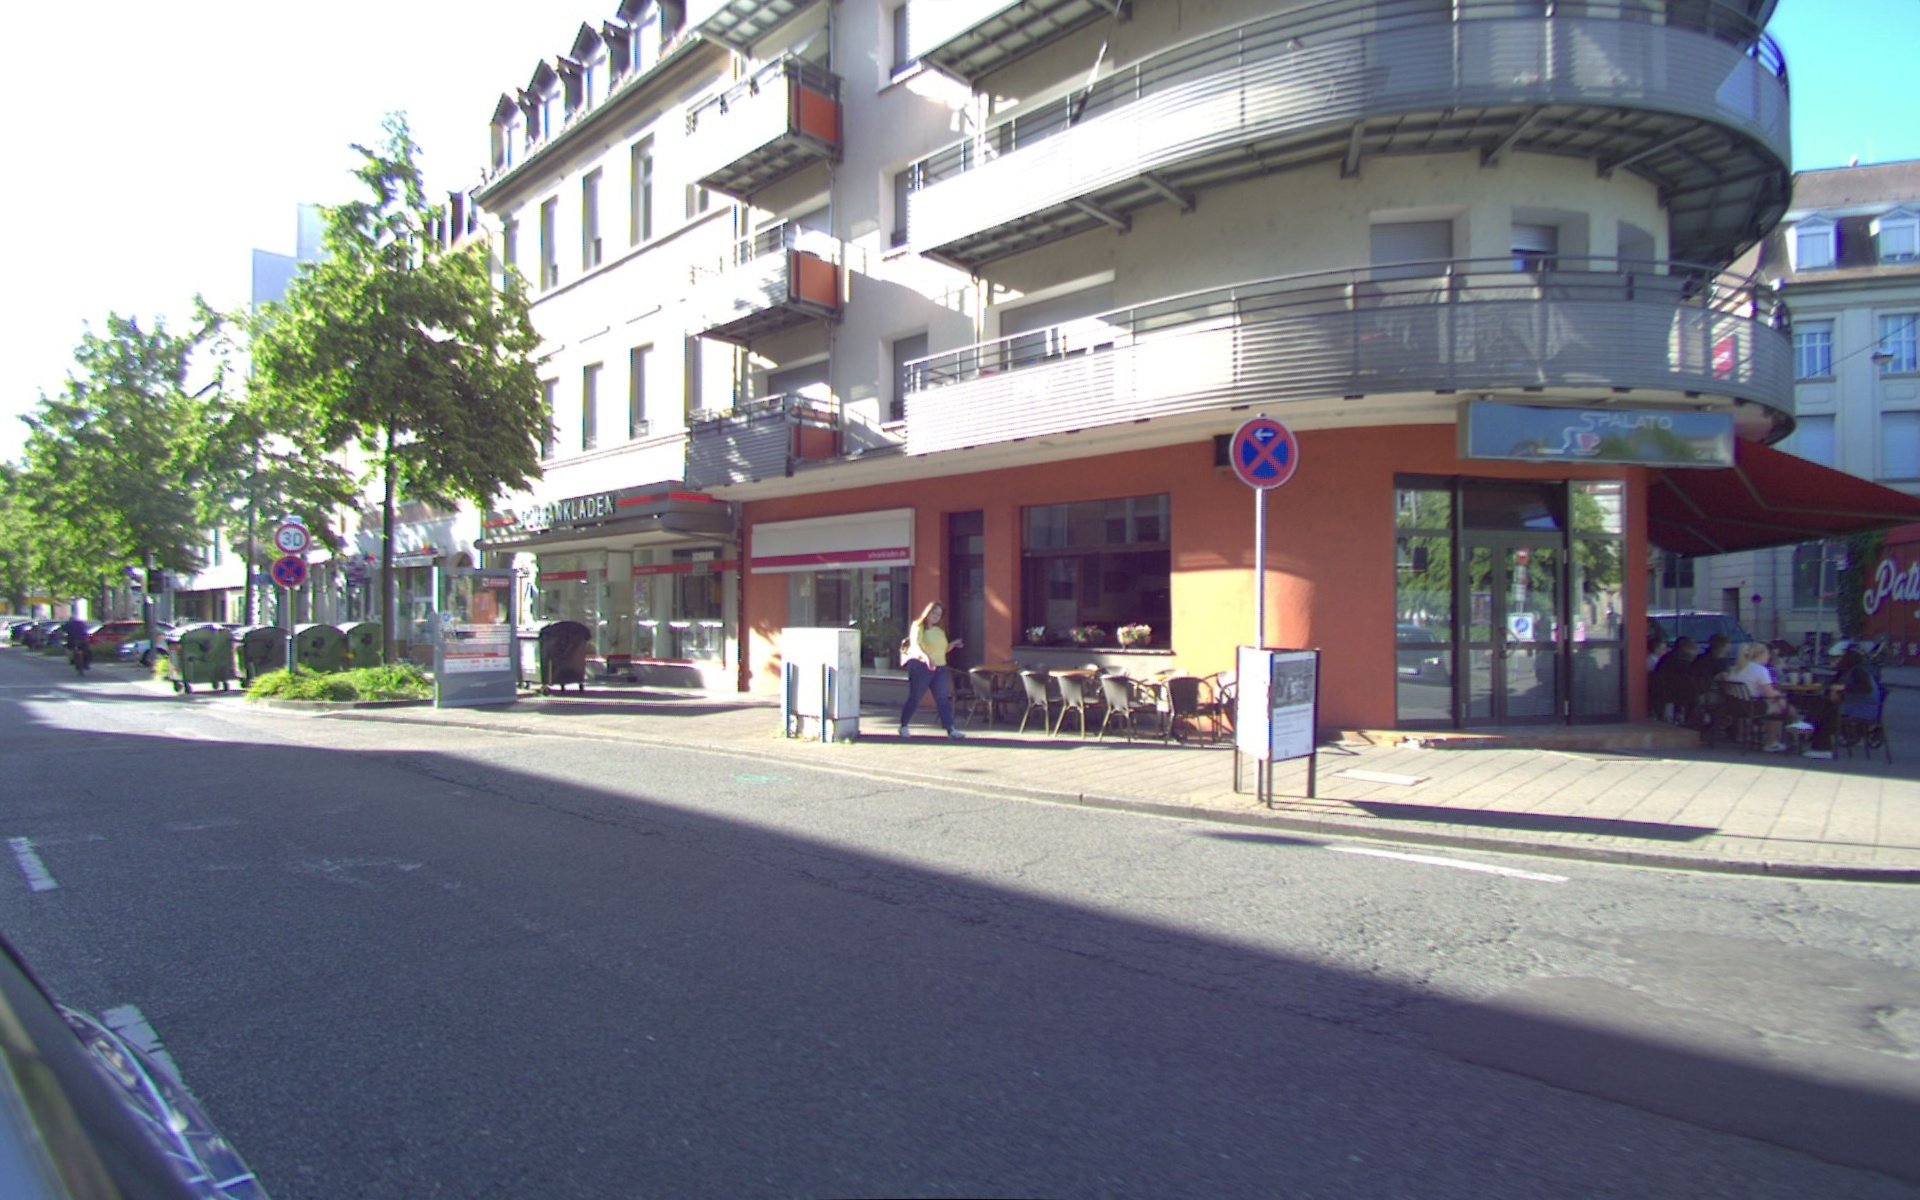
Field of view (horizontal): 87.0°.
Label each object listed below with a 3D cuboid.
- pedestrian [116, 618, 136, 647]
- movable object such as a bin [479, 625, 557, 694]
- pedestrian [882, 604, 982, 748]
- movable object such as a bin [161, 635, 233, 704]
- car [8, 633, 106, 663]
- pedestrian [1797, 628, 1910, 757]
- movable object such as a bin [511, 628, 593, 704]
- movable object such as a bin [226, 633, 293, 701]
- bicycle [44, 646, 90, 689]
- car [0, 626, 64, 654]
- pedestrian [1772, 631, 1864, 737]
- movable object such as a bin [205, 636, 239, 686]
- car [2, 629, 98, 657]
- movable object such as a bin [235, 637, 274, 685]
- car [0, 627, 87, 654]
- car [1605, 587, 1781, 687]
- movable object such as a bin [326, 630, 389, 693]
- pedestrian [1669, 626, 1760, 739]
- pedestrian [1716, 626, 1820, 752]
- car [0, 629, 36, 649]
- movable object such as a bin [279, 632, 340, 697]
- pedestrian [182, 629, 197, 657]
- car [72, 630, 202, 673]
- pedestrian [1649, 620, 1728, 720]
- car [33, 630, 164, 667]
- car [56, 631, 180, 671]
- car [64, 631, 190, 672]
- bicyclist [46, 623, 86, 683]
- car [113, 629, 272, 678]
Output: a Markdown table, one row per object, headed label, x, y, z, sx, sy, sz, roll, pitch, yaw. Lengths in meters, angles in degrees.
| label | x | y | z | sx | sy | sz | roll | pitch | yaw |
| --- | --- | --- | --- | --- | --- | --- | --- | --- | --- |
| pedestrian | -53.545 | 2.086 | 64.994 | 0.763 | 1.779 | 0.766 | -2 | 3 | 41 |
| movable object such as a bin | -9.093 | 1.192 | 20.822 | 1.314 | 1.355 | 1.031 | -2 | -2 | 42 |
| pedestrian | -0.348 | 0.893 | 12.340 | 1.036 | 1.672 | 0.657 | -2 | -2 | 42 |
| movable object such as a bin | -17.105 | 1.528 | 22.681 | 1.452 | 1.483 | 1.031 | -2 | -2 | 42 |
| car | -48.535 | 2.544 | 54.440 | 1.779 | 1.470 | 3.742 | -2 | -1 | 40 |
| pedestrian | 9.680 | 0.984 | 10.989 | 0.693 | 1.350 | 0.572 | -1 | -1 | 14 |
| movable object such as a bin | -8.028 | 1.271 | 19.901 | 1.314 | 1.415 | 1.031 | -2 | -2 | 42 |
| movable object such as a bin | -16.104 | 1.514 | 23.277 | 1.143 | 1.483 | 1.031 | -2 | -2 | 42 |
| bicycle | -25.353 | 1.888 | 28.717 | 1.966 | 1.155 | 0.698 | -2 | -2 | 40 |
| car | -65.098 | 2.777 | 70.308 | 2.039 | 1.850 | 4.060 | -2 | -1 | 43 |
| pedestrian | 11.263 | 1.084 | 13.296 | 0.689 | 1.350 | 0.576 | 0 | -1 | -10 |
| movable object such as a bin | -20.853 | 1.712 | 28.599 | 0.805 | 1.351 | 0.627 | -2 | -2 | 42 |
| car | -56.274 | 2.655 | 62.618 | 1.980 | 1.582 | 4.318 | -2 | -1 | 43 |
| movable object such as a bin | -20.367 | 1.738 | 29.211 | 0.805 | 1.351 | 0.746 | -2 | -2 | 42 |
| car | -58.369 | 2.550 | 64.270 | 1.946 | 1.582 | 4.318 | -2 | -1 | 43 |
| car | 16.647 | 0.842 | 23.285 | 2.019 | 2.065 | 4.324 | 0 | -2 | 19 |
| movable object such as a bin | -14.828 | 1.496 | 24.916 | 1.143 | 1.483 | 1.031 | -2 | -2 | 42 |
| pedestrian | 9.366 | 1.007 | 12.586 | 0.693 | 1.350 | 0.572 | -1 | -1 | 14 |
| pedestrian | 8.952 | 0.967 | 11.240 | 0.693 | 1.350 | 0.572 | -1 | -1 | 14 |
| car | -74.529 | 3.070 | 78.755 | 1.709 | 1.475 | 3.740 | -2 | -1 | 40 |
| movable object such as a bin | -15.483 | 1.516 | 24.078 | 1.143 | 1.483 | 0.953 | -1 | -2 | 42 |
| pedestrian | -40.250 | 2.262 | 52.869 | 0.502 | 1.419 | 0.826 | -1 | -1 | -43 |
| car | -31.970 | 1.948 | 39.362 | 1.739 | 1.479 | 3.707 | -2 | -1 | 42 |
| pedestrian | 10.097 | 0.961 | 14.047 | 0.693 | 1.350 | 0.572 | -1 | -1 | 14 |
| car | -40.267 | 2.221 | 47.394 | 1.789 | 1.469 | 4.447 | -2 | 0 | 40 |
| car | -35.536 | 2.108 | 42.784 | 1.771 | 1.497 | 3.875 | -2 | -1 | 44 |
| car | -33.794 | 2.054 | 41.118 | 1.790 | 1.439 | 3.798 | -2 | -1 | 44 |
| bicyclist | -25.371 | 1.485 | 28.733 | 1.035 | 1.665 | 0.689 | -2 | -2 | 40 |
| car | -26.156 | 1.779 | 34.579 | 1.740 | 1.479 | 4.155 | -2 | -1 | 45 |
